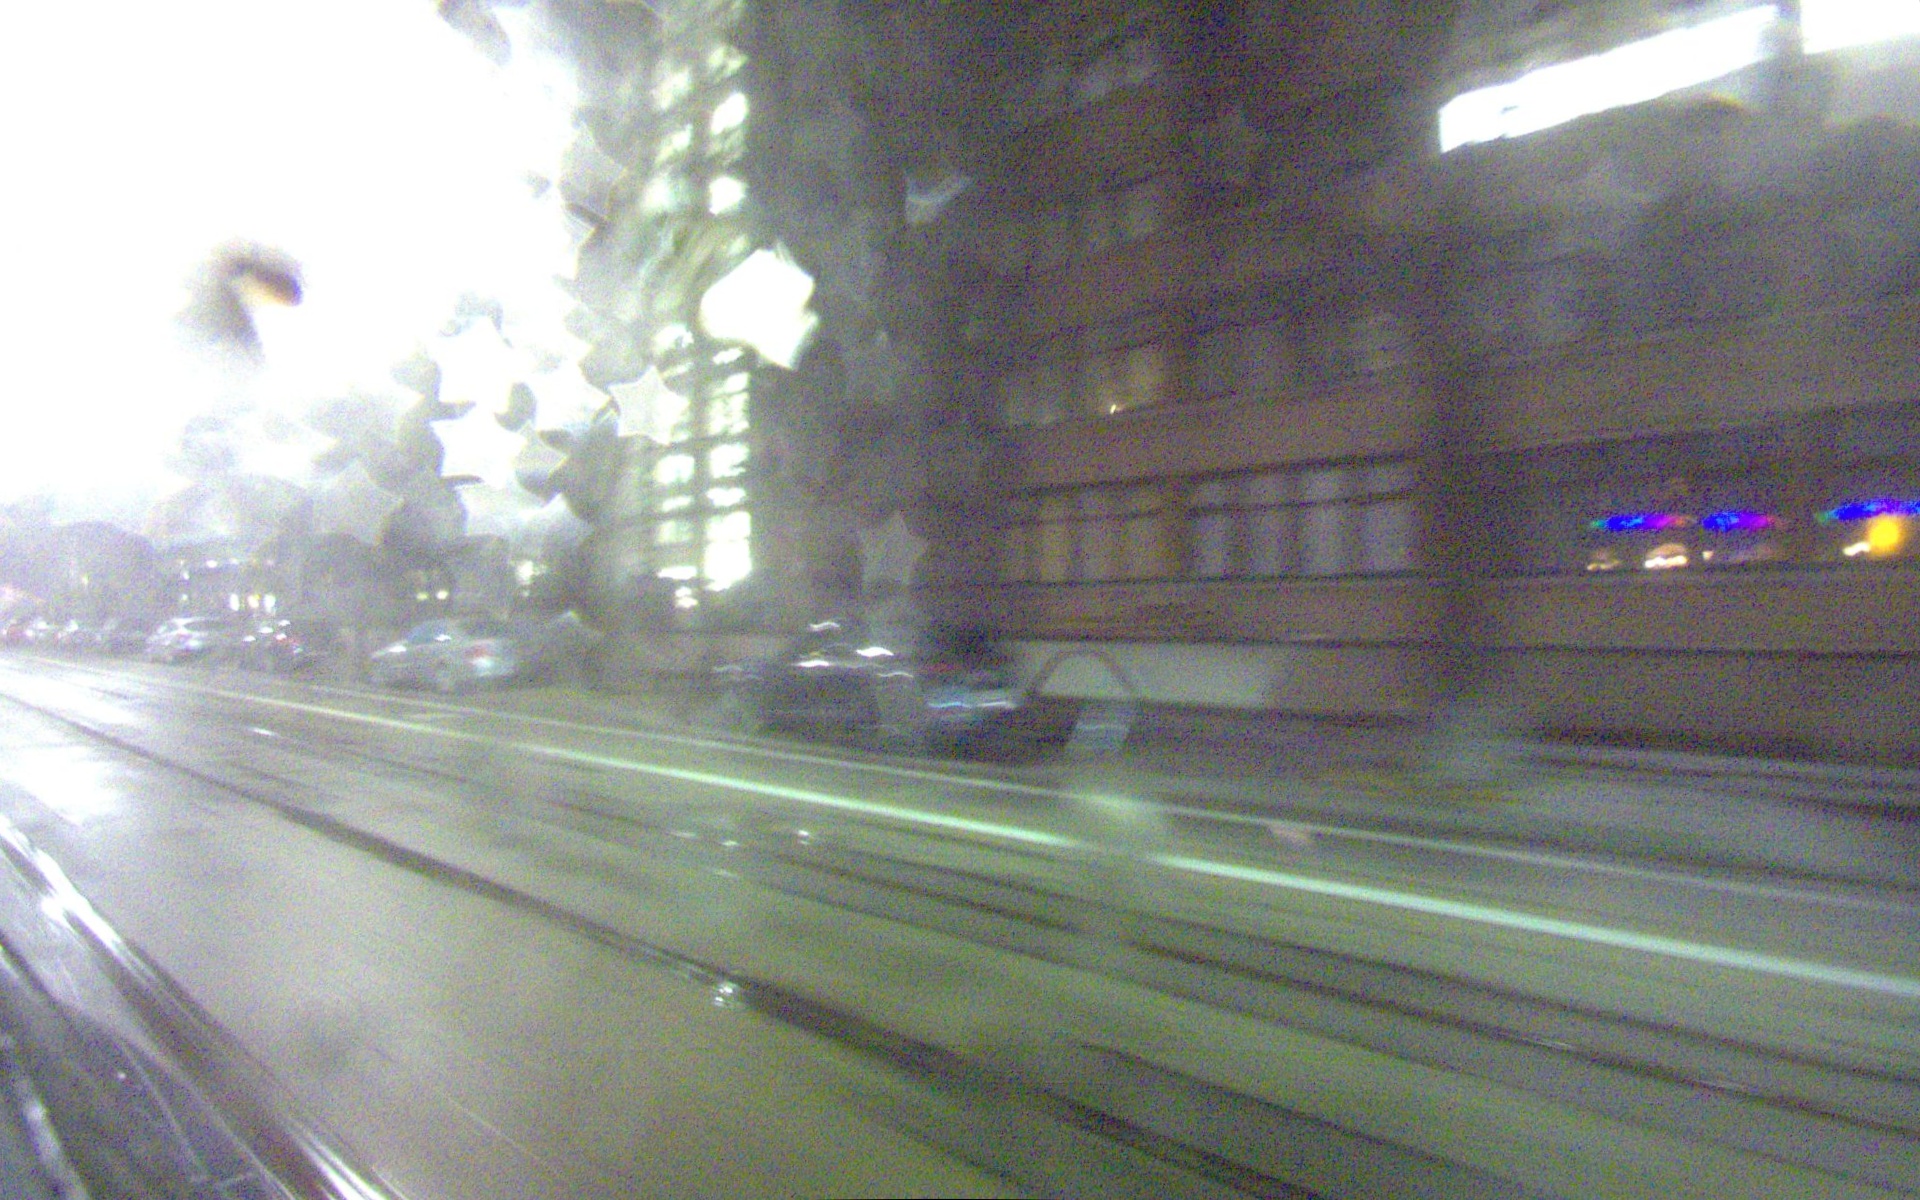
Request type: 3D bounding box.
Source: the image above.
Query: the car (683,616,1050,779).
[{"bbox_3d":[-1.259,1.036,12.445,4.393,1.557,1.863,-1,2,38],"label":"car"}]

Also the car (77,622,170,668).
[{"bbox_3d":[-34.043,1.780,41.164,4.586,1.631,2.122,-1,1,40],"label":"car"}]

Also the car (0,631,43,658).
[{"bbox_3d":[-55.864,2.616,60.003,3.948,1.467,1.701,-1,-1,40],"label":"car"}]

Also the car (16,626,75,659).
[{"bbox_3d":[-49.096,2.234,54.308,4.351,1.590,1.791,-2,1,41],"label":"car"}]

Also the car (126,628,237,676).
[{"bbox_3d":[-25.650,1.654,33.311,4.600,1.451,1.756,-1,-2,37],"label":"car"}]

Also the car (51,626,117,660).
[{"bbox_3d":[-40.906,1.966,47.208,4.623,1.449,1.713,-1,-1,41],"label":"car"}]

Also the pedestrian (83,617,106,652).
[{"bbox_3d":[-47.590,1.892,55.646,1.290,1.916,0.784,-1,-1,41],"label":"pedestrian"}]

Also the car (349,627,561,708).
[{"bbox_3d":[-10.474,1.301,20.859,4.951,1.474,1.871,-1,-2,37],"label":"car"}]

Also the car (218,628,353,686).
[{"bbox_3d":[-18.360,1.491,27.500,4.203,1.434,1.822,-1,-2,38],"label":"car"}]
